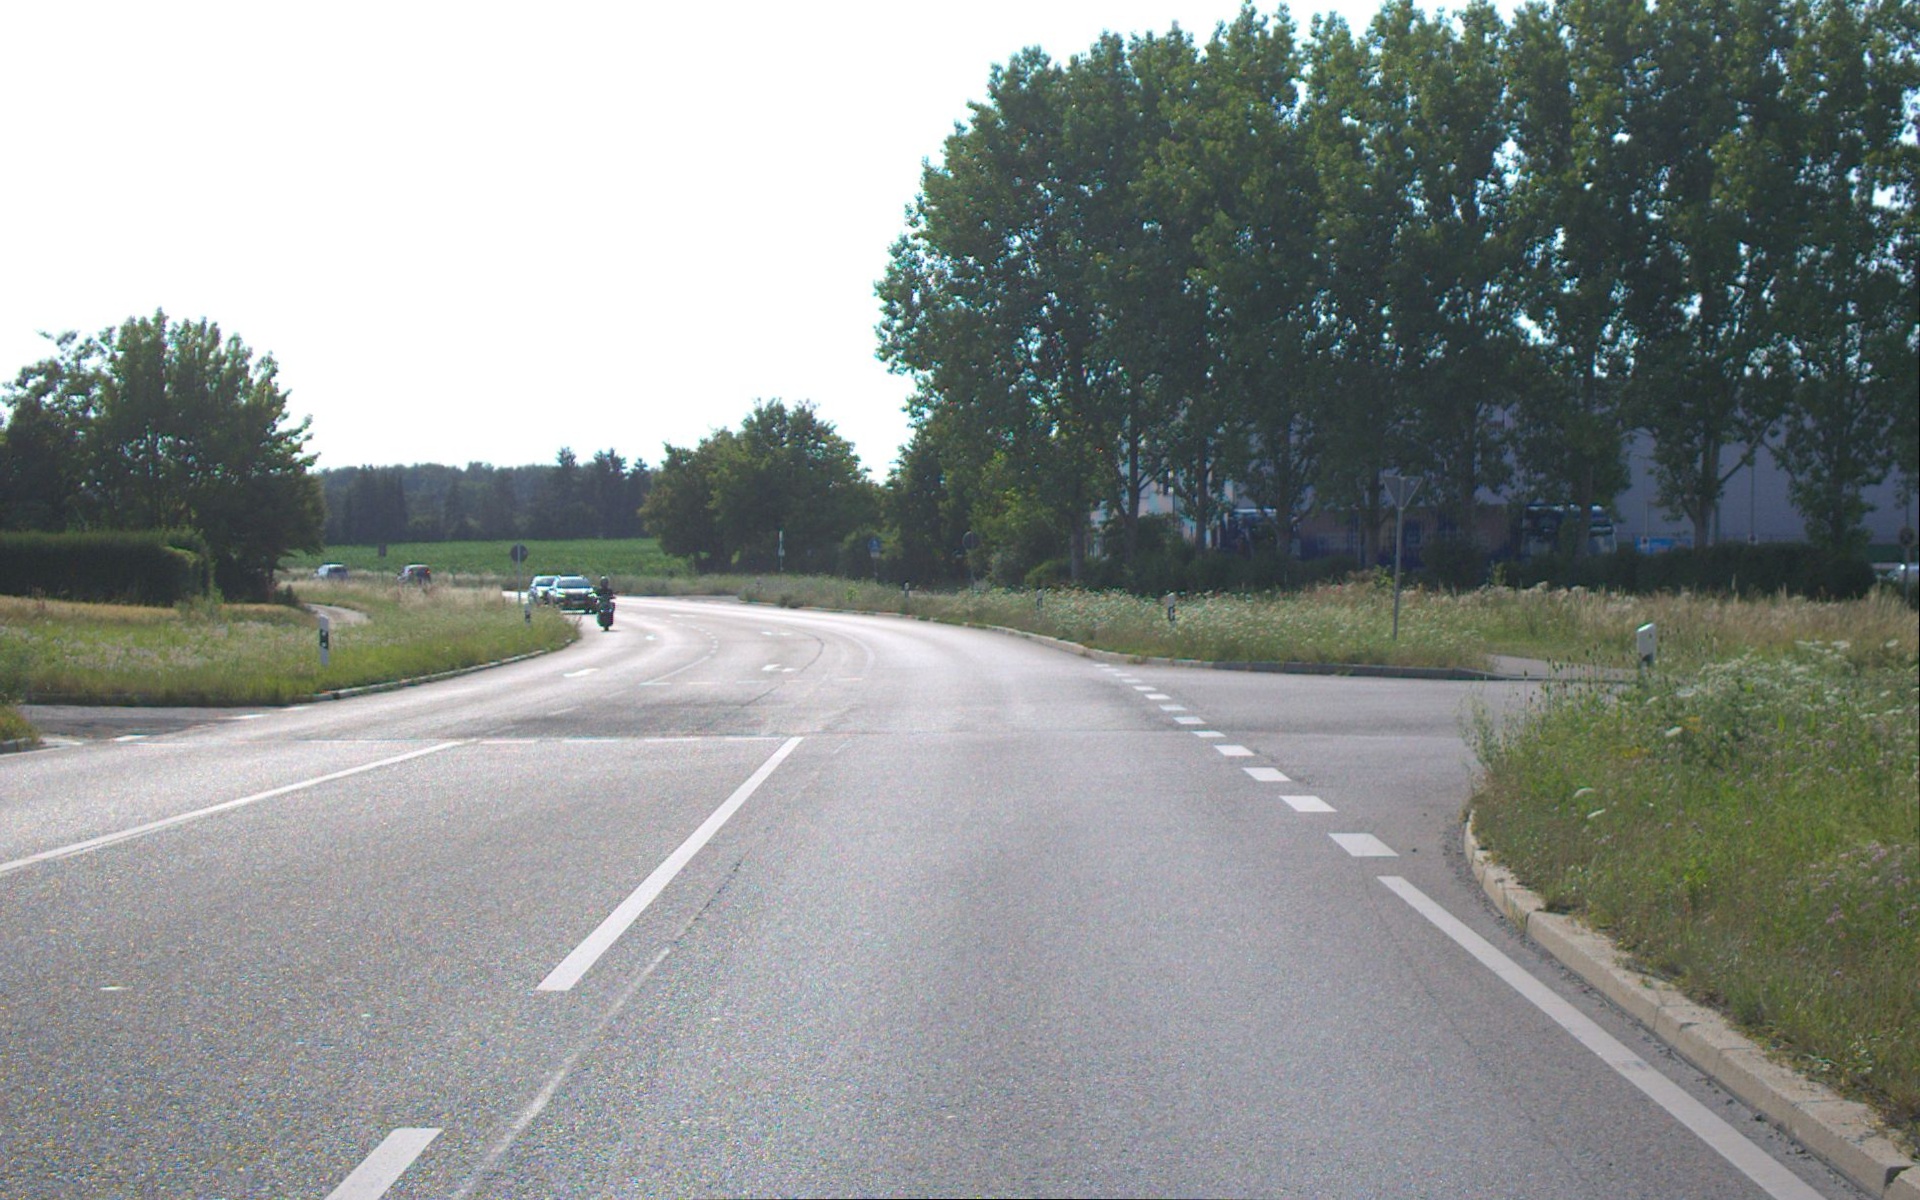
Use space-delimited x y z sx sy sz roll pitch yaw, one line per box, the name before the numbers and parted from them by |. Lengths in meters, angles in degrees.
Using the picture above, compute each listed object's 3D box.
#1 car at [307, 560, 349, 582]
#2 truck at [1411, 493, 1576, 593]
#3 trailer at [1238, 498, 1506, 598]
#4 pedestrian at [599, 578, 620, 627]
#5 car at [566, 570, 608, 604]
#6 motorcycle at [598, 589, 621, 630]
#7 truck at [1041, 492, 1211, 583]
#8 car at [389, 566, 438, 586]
car | -42.947 -1.956 233.569 1.850 1.403 3.645 3 -1 -25
truck | 18.159 -1.889 117.307 2.620 3.151 5.710 3 -2 -27
trailer | 14.705 -1.788 124.324 2.683 3.131 13.272 3 -2 -26
pedestrian | -11.079 0.074 108.755 0.565 1.500 0.865 3 0 -4
car | -15.478 -0.552 142.658 1.684 1.344 4.001 -1 0 -6
motorcycle | -11.081 0.284 108.654 0.585 1.256 2.121 3 0 -4
truck | 6.559 -2.461 137.748 2.511 3.365 9.687 3 -1 -24
car | -34.159 -1.524 214.681 1.967 1.147 3.868 3 -1 -25
